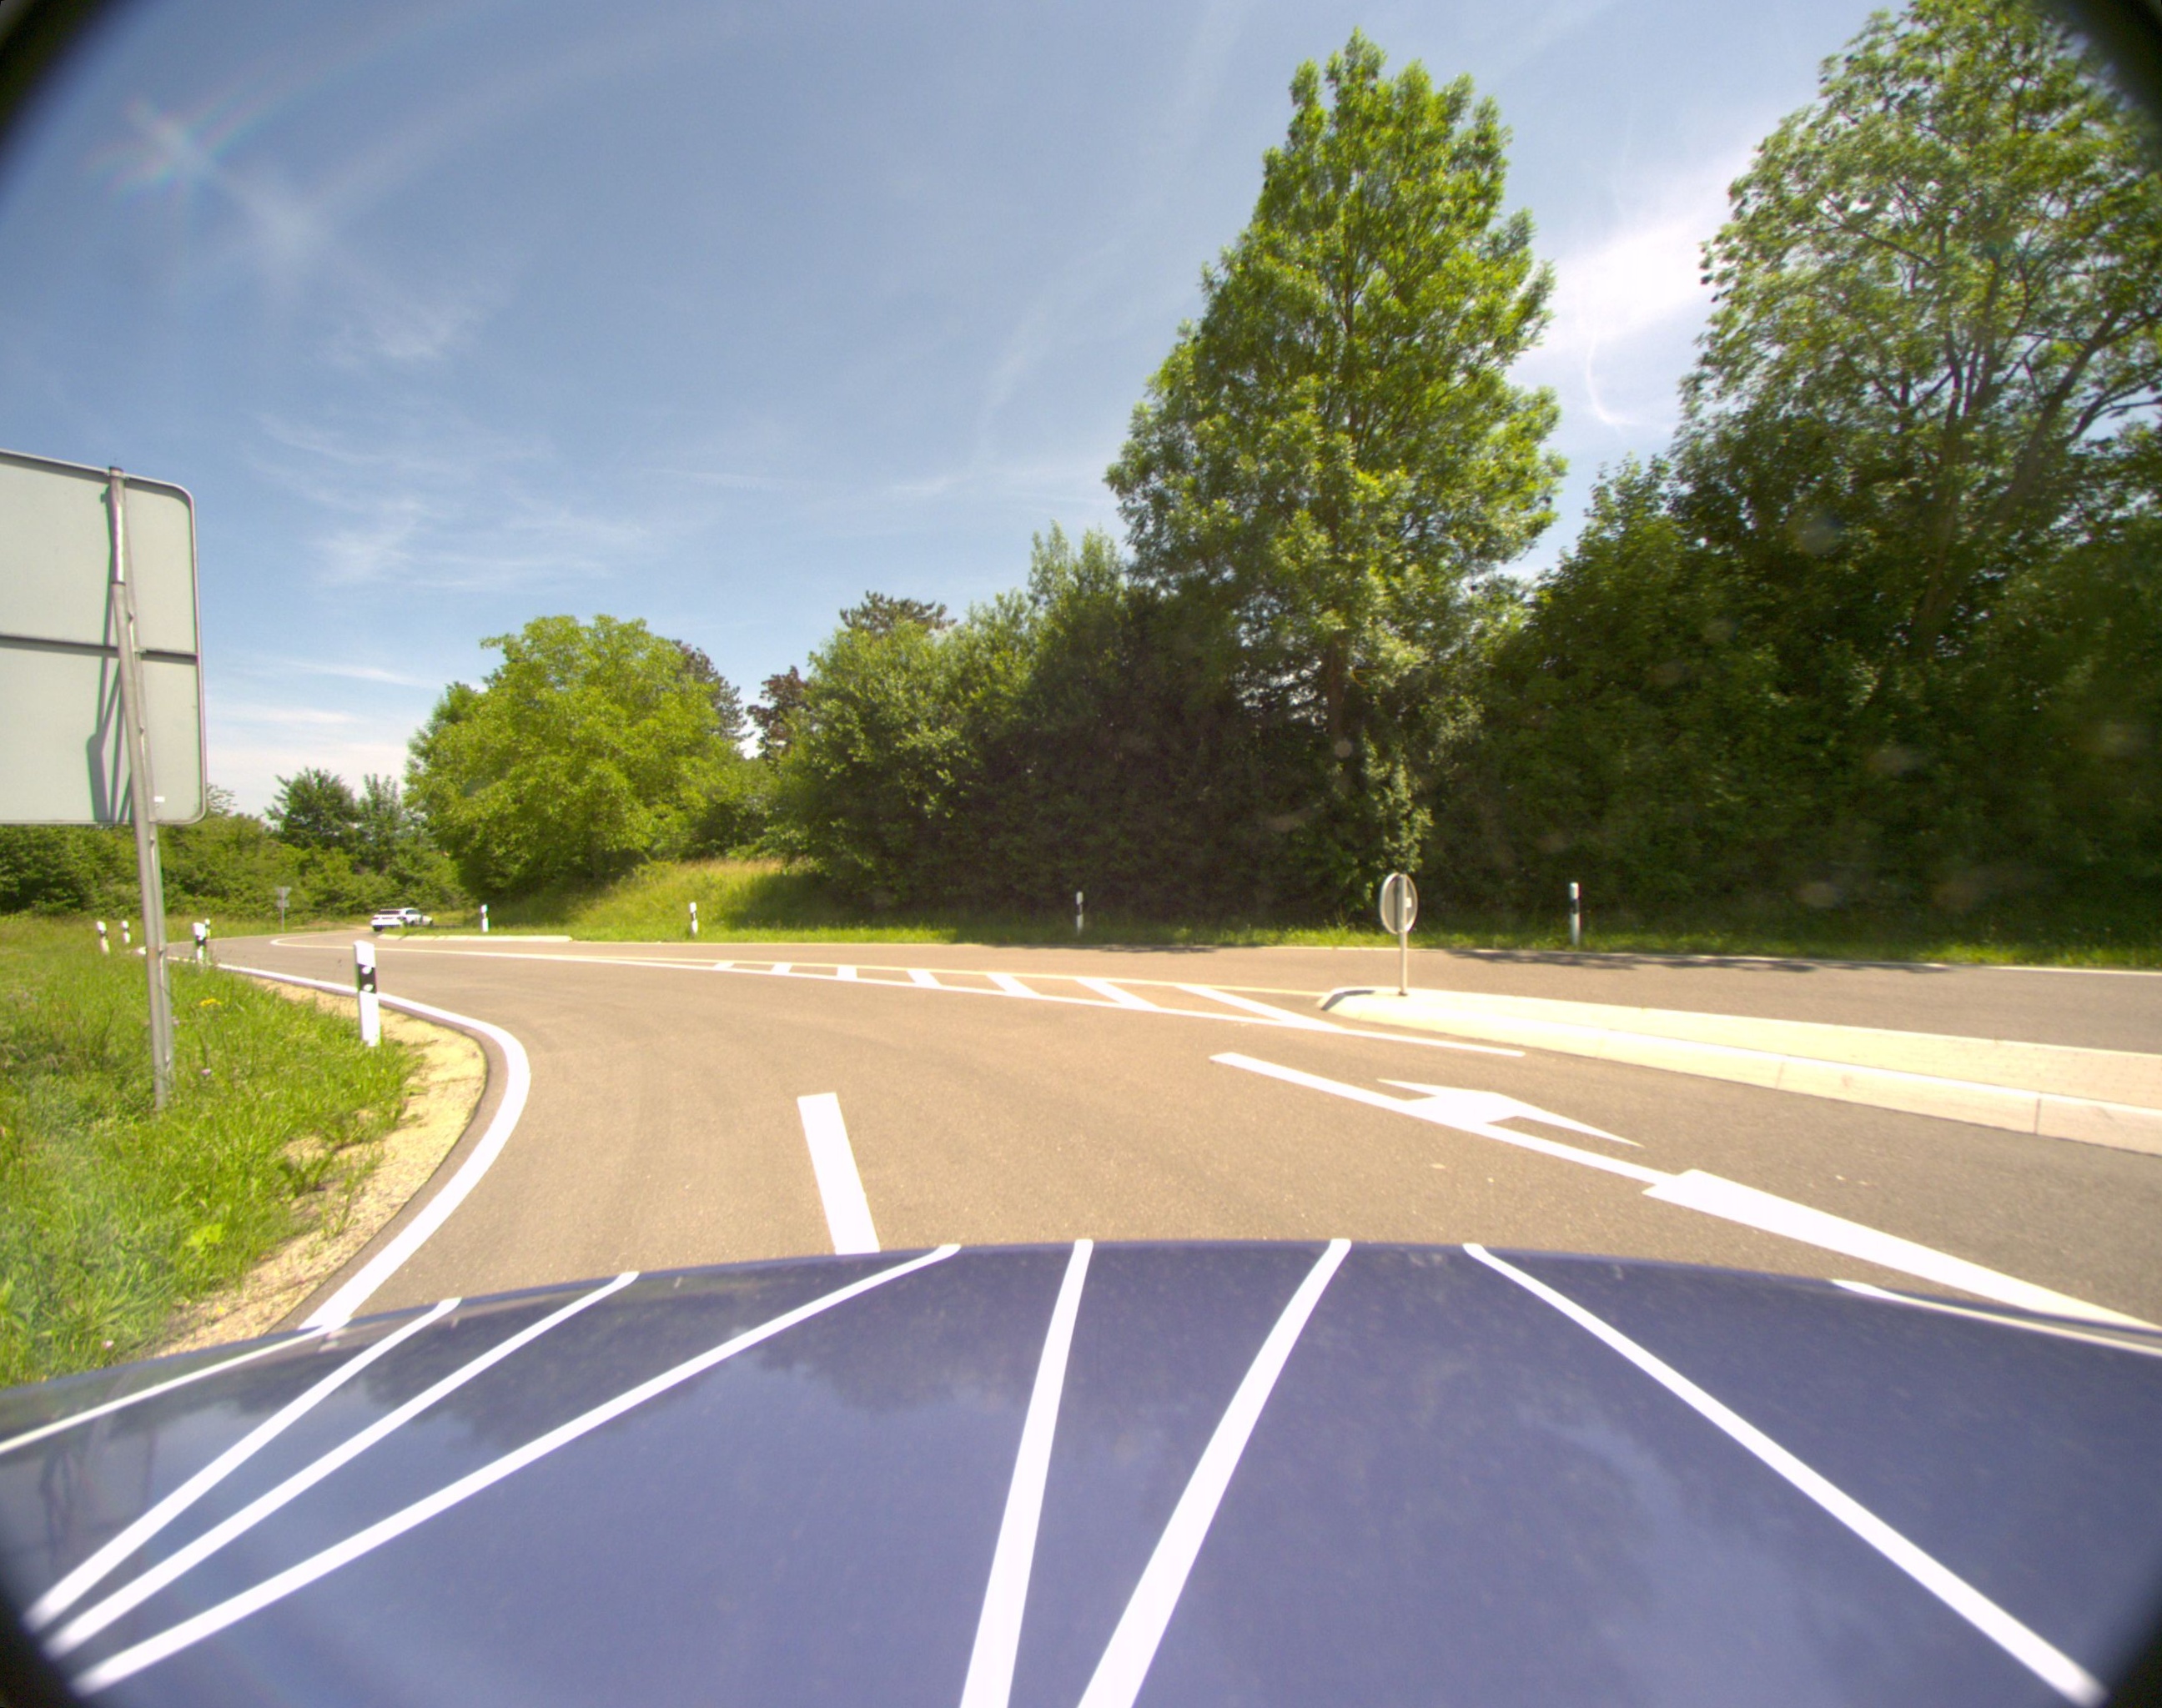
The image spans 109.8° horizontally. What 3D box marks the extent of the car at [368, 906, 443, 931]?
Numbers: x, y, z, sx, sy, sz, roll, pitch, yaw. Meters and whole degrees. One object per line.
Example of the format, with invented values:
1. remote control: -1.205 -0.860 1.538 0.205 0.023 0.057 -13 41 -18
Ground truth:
1. car: -42.878 4.070 48.402 1.812 1.403 5.328 -2 -3 -21
